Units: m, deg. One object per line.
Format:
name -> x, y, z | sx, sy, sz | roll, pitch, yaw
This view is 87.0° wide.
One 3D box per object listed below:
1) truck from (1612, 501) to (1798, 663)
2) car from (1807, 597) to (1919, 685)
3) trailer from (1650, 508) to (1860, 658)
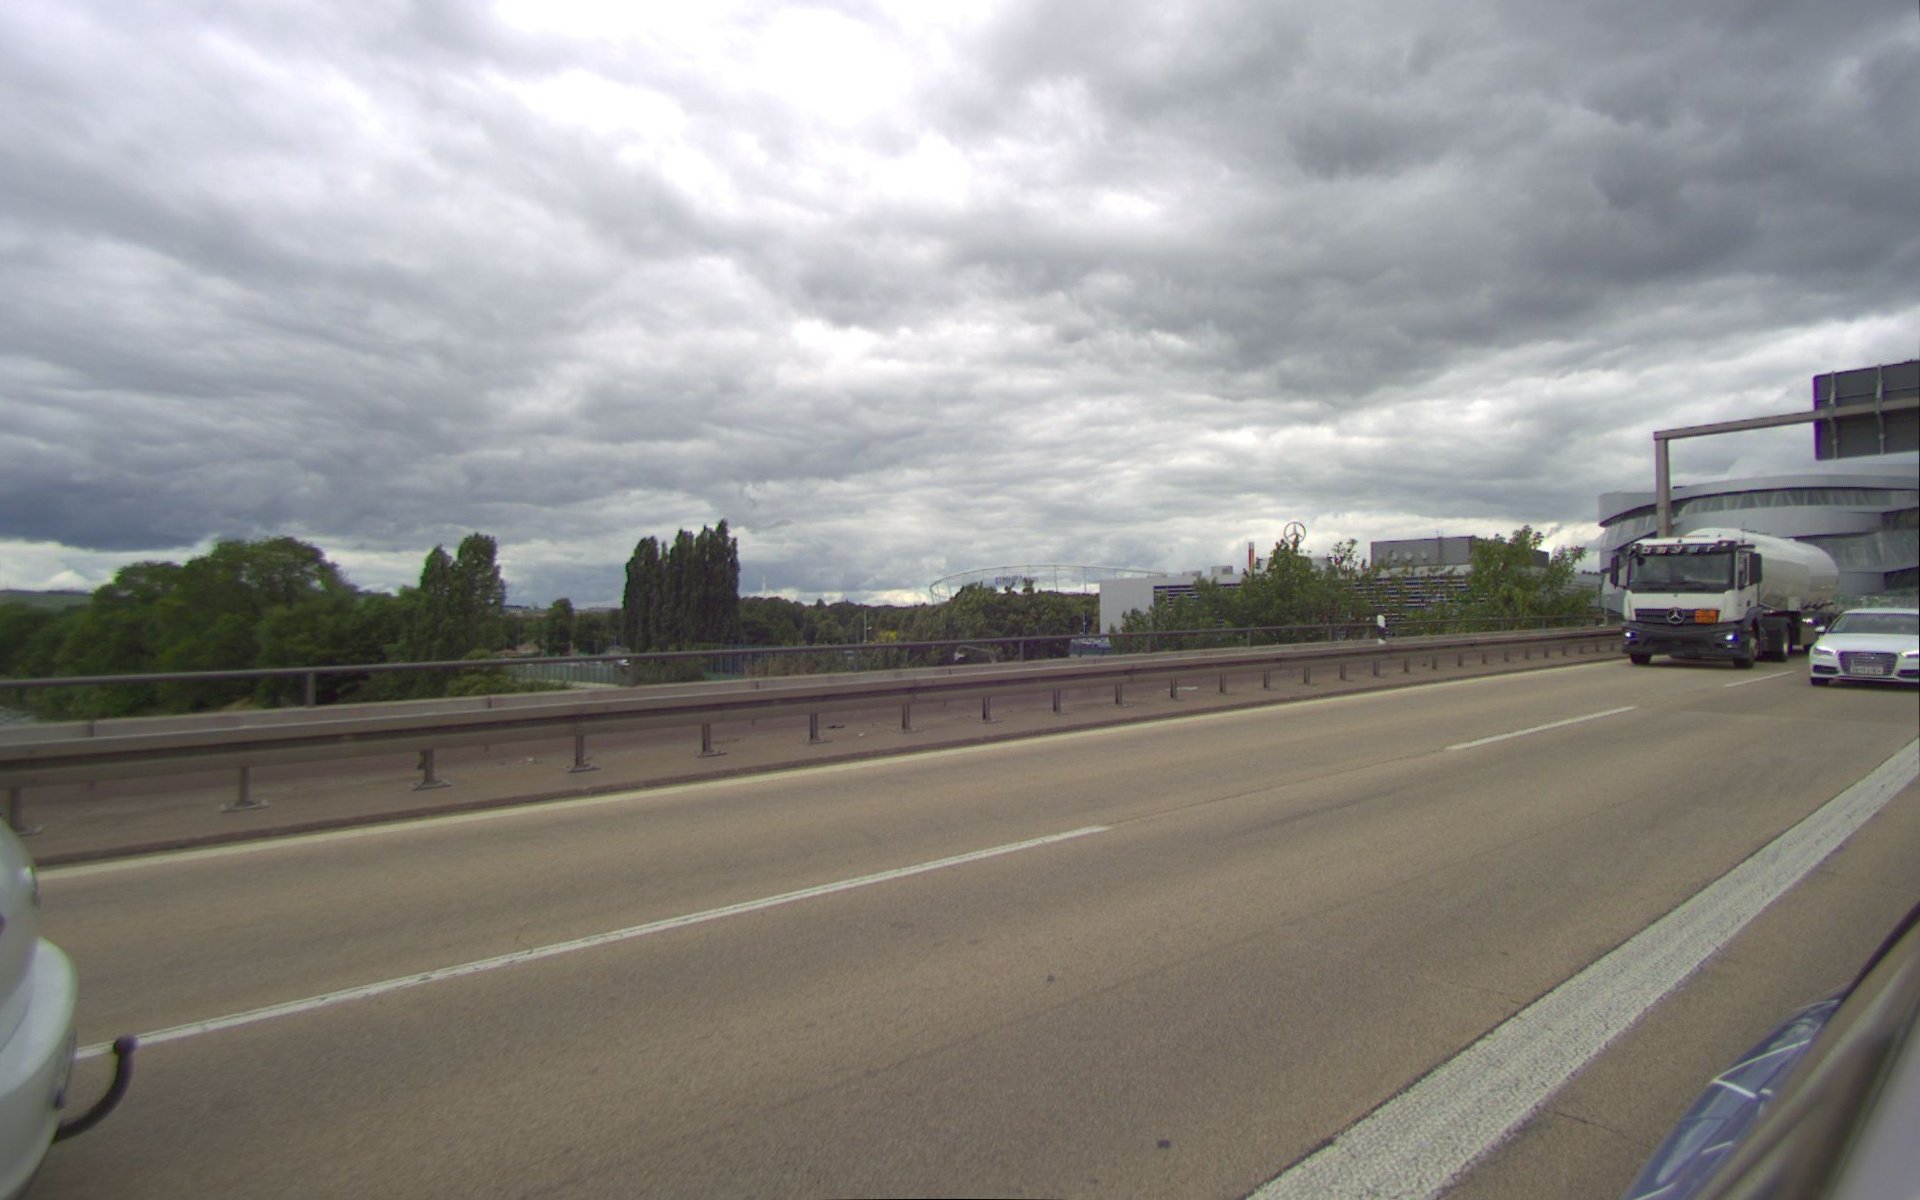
truck -> 18.267, -0.425, 24.751 | 4.818, 3.558, 2.635 | -1, 0, -41
car -> 17.305, 0.695, 18.662 | 3.861, 1.470, 1.848 | 0, 0, -39
trailer -> 22.918, -0.454, 28.824 | 11.024, 3.588, 2.655 | 0, 0, -41
